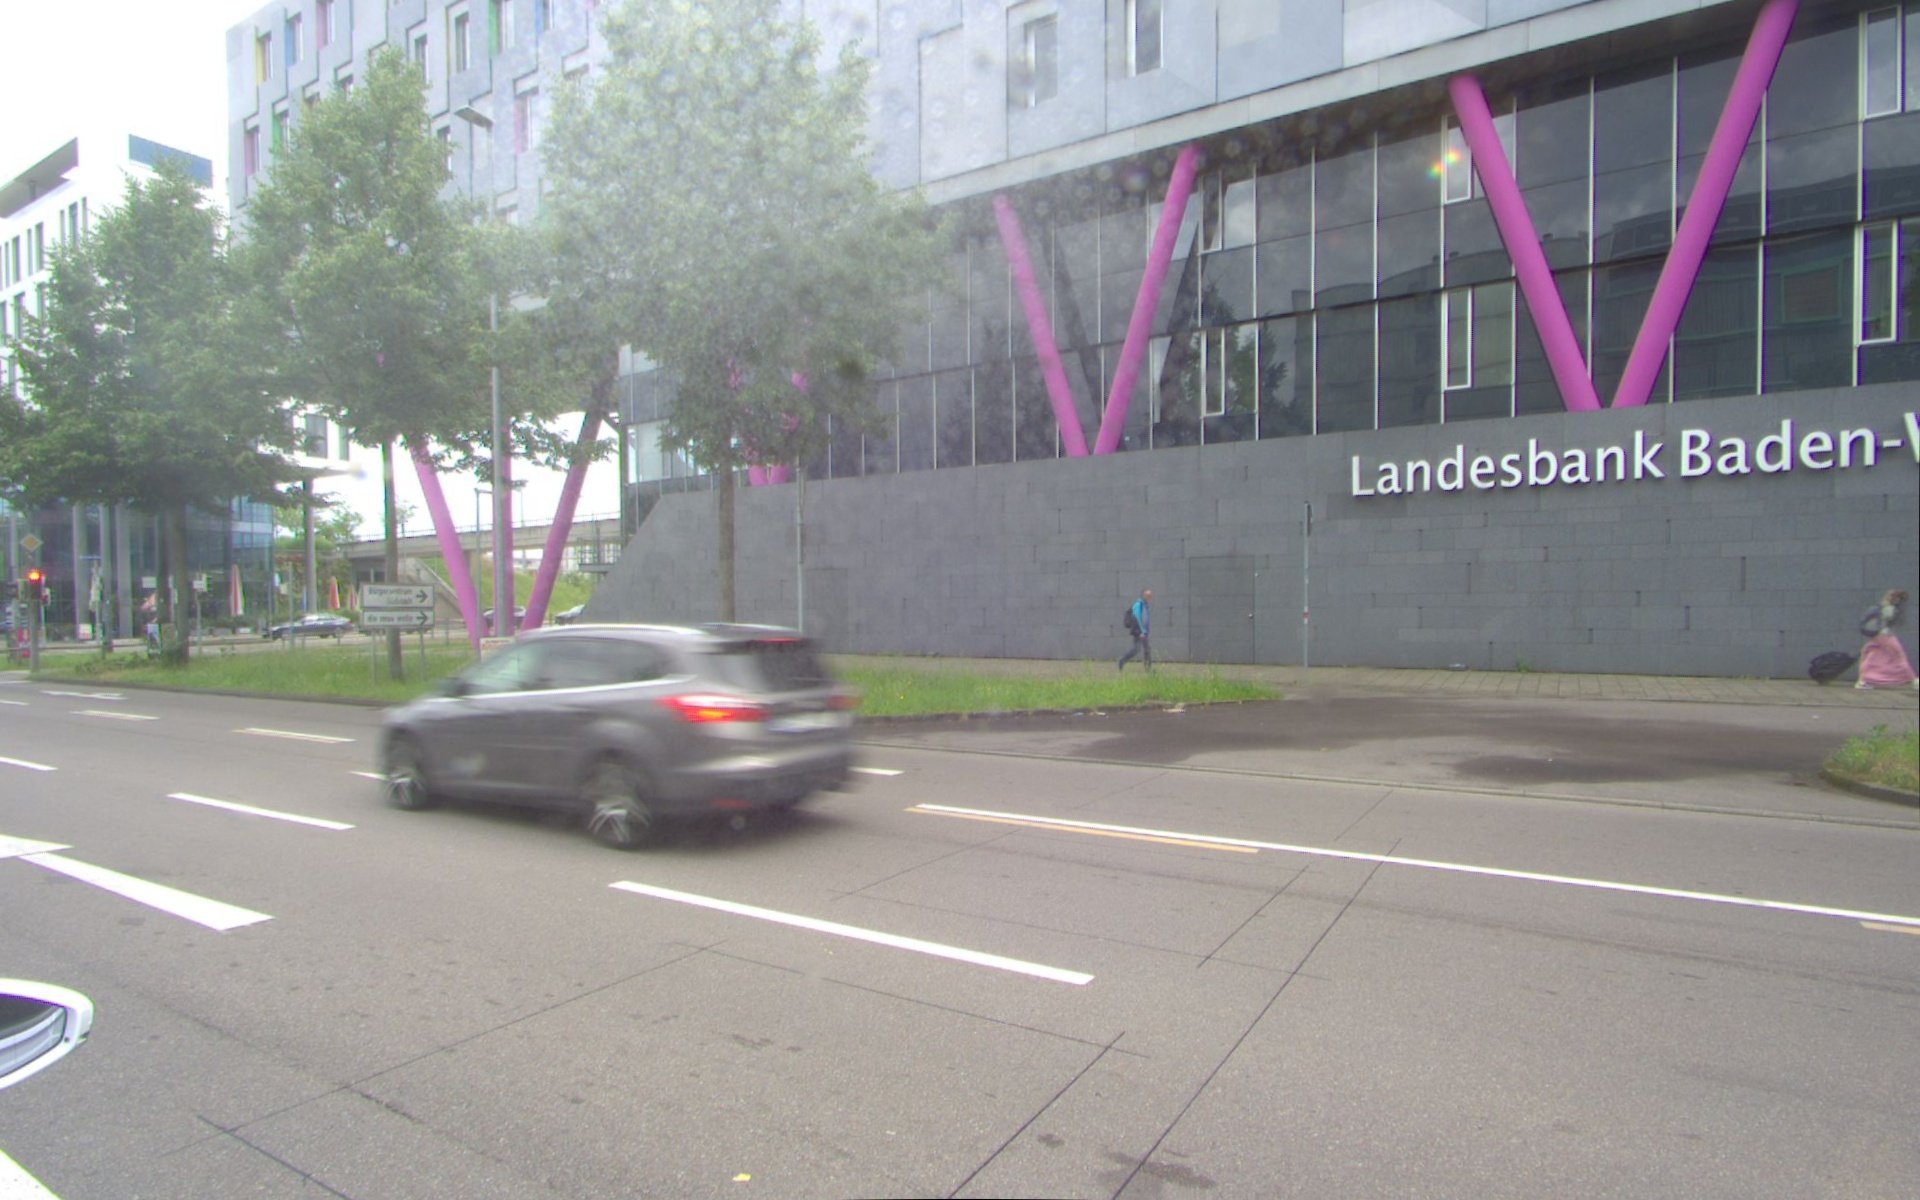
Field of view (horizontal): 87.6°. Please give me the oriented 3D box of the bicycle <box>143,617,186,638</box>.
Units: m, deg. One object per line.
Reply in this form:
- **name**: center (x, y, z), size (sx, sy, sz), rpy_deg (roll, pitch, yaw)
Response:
- **bicycle**: center (-43.967, 1.507, 55.363), size (0.609, 1.100, 1.787), rpy_deg (0, 0, 34)

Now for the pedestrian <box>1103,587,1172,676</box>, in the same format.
- **pedestrian**: center (3.718, 0.629, 20.975), size (1.121, 1.794, 1.049), rpy_deg (1, 1, 33)

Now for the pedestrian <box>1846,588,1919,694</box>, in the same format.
- **pedestrian**: center (14.482, 0.615, 15.584), size (0.902, 1.604, 0.782), rpy_deg (1, 1, 33)

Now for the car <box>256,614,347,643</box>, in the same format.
- **car**: center (-39.166, 1.649, 59.643), size (1.733, 1.636, 4.240), rpy_deg (0, 0, 34)

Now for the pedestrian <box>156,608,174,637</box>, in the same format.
- **pedestrian**: center (-43.955, 1.240, 55.383), size (0.610, 1.625, 0.613), rpy_deg (0, 1, 34)

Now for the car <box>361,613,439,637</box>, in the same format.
- **car**: center (-36.233, 1.573, 64.916), size (1.734, 1.474, 4.070), rpy_deg (0, 0, 34)

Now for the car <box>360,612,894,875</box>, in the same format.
- **car**: center (-2.725, 0.881, 7.873), size (4.207, 1.519, 1.744), rpy_deg (1, 0, 33)
